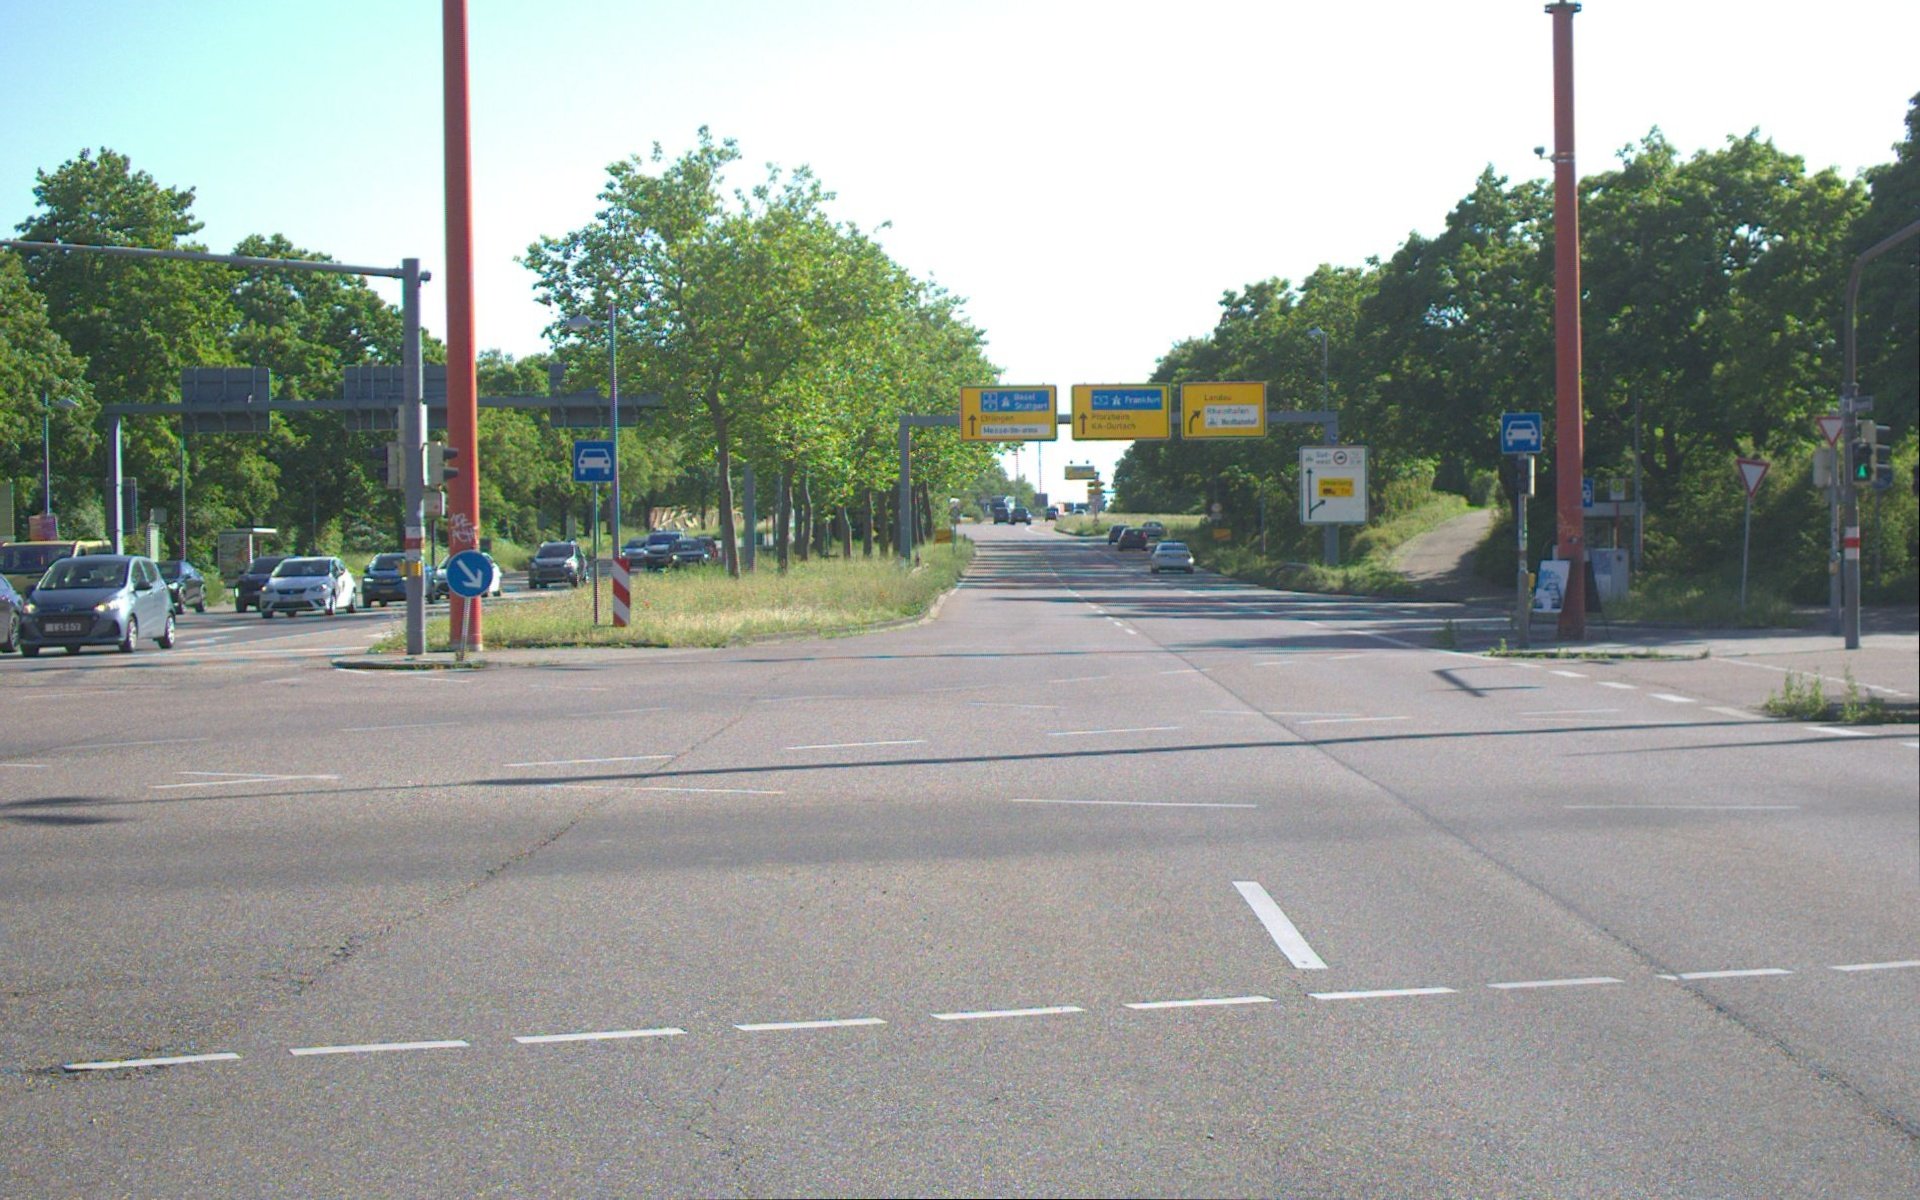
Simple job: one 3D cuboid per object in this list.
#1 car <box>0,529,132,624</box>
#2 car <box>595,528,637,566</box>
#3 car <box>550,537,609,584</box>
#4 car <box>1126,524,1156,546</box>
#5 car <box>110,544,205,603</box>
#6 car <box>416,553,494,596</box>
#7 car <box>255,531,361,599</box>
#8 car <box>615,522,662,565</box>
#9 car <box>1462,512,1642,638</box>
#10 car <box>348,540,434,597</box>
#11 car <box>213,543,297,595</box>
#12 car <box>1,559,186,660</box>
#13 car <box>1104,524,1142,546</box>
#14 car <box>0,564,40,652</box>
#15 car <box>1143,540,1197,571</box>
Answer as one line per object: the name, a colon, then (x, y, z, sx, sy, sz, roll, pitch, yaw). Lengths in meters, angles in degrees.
car: (-19.485, -0.524, 74.658, 1.757, 1.980, 4.789, 1, 1, 1)
car: (-18.578, -2.832, 185.857, 2.003, 2.007, 4.000, 0, 1, -2)
car: (-14.214, -1.499, 128.579, 1.625, 1.733, 4.000, 0, 1, 1)
car: (11.265, -4.076, 214.407, 1.738, 1.337, 3.081, -1, 1, 1)
car: (-23.051, -0.772, 98.875, 1.993, 1.633, 4.001, 0, 1, -3)
car: (-15.990, -0.823, 109.023, 2.003, 1.303, 4.000, -1, 1, -2)
car: (-15.823, -0.849, 83.592, 1.704, 1.590, 4.000, 1, 1, 2)
car: (-15.370, -2.696, 164.692, 2.003, 2.007, 4.000, 0, 1, -2)
car: (9.302, -0.409, 53.782, 1.996, 1.881, 3.996, 0, 1, 21)
car: (-16.019, -0.887, 96.941, 1.704, 1.553, 3.803, 1, 1, 2)
car: (-19.933, -0.876, 97.268, 1.628, 1.445, 3.434, 1, 1, 1)
car: (-13.152, 0.122, 52.391, 1.701, 1.416, 4.000, 3, 0, 1)
car: (11.407, -4.550, 240.280, 1.993, 1.491, 4.001, -1, 1, -7)
car: (-15.812, 0.147, 53.462, 1.628, 1.363, 4.796, 0, 1, 1)
car: (9.481, -2.000, 155.374, 2.054, 1.366, 4.392, -1, 1, -1)
